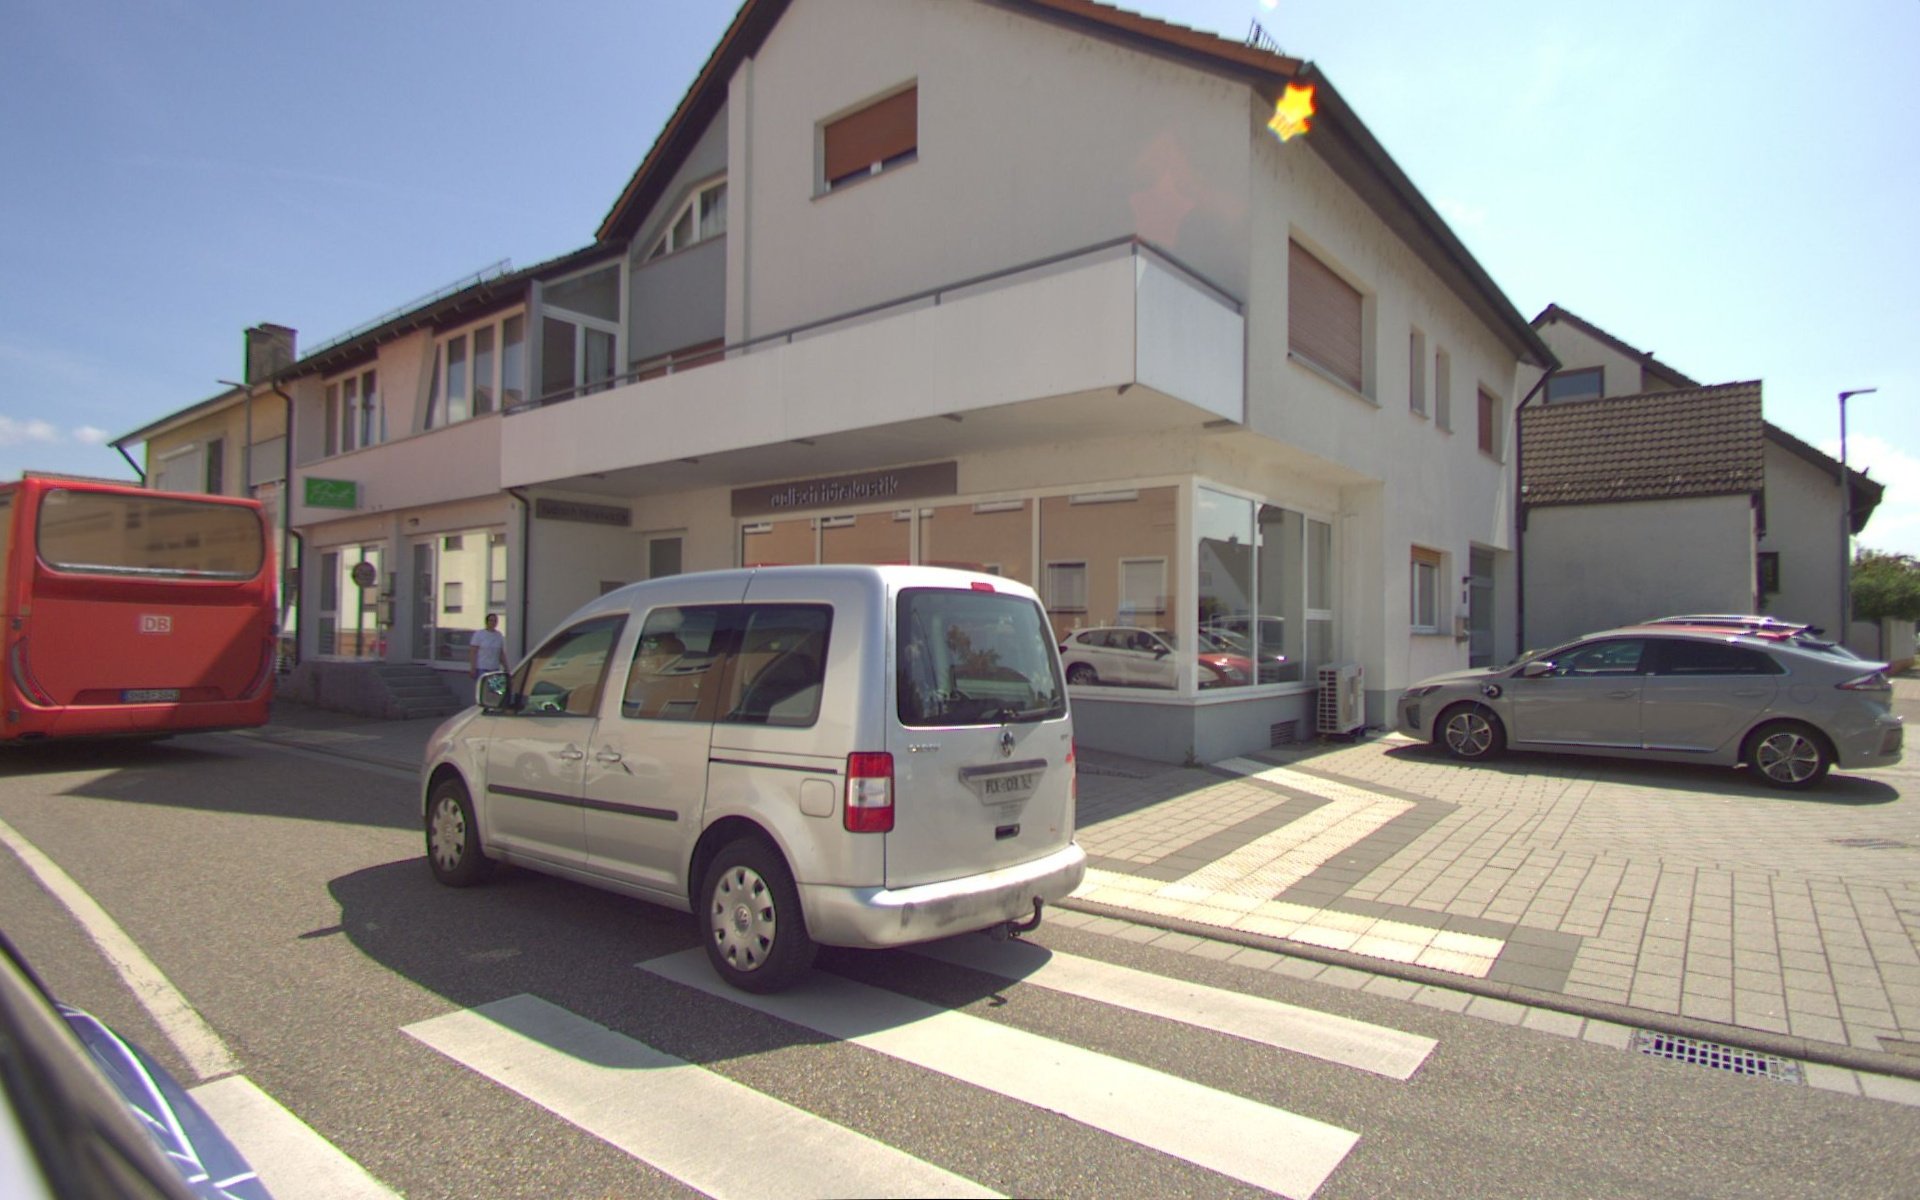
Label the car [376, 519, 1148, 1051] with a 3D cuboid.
[{"bbox_3d":[-1.358,0.717,5.614,4.437,1.835,1.754,-1,-4,39],"label":"car"}]

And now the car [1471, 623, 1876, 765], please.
[{"bbox_3d":[8.816,1.061,12.804,3.958,1.488,1.730,0,-2,38],"label":"car"}]

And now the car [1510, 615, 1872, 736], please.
[{"bbox_3d":[12.152,1.159,17.150,4.742,1.753,1.962,0,-2,38],"label":"car"}]

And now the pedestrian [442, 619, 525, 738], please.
[{"bbox_3d":[-6.771,1.077,14.378,0.956,1.595,0.747,-1,0,40],"label":"pedestrian"}]

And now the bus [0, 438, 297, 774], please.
[{"bbox_3d":[-13.757,0.179,13.987,11.978,3.257,2.607,-1,-4,31],"label":"bus"}]

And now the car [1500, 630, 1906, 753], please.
[{"bbox_3d":[10.426,1.185,14.563,4.472,1.462,1.812,0,-2,38],"label":"car"}]

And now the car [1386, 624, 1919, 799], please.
[{"bbox_3d":[7.106,1.009,10.736,4.472,1.462,1.812,0,-2,38],"label":"car"}]

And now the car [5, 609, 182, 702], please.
[{"bbox_3d":[-16.648,0.983,19.395,3.993,1.527,1.728,-1,2,37],"label":"car"}]
